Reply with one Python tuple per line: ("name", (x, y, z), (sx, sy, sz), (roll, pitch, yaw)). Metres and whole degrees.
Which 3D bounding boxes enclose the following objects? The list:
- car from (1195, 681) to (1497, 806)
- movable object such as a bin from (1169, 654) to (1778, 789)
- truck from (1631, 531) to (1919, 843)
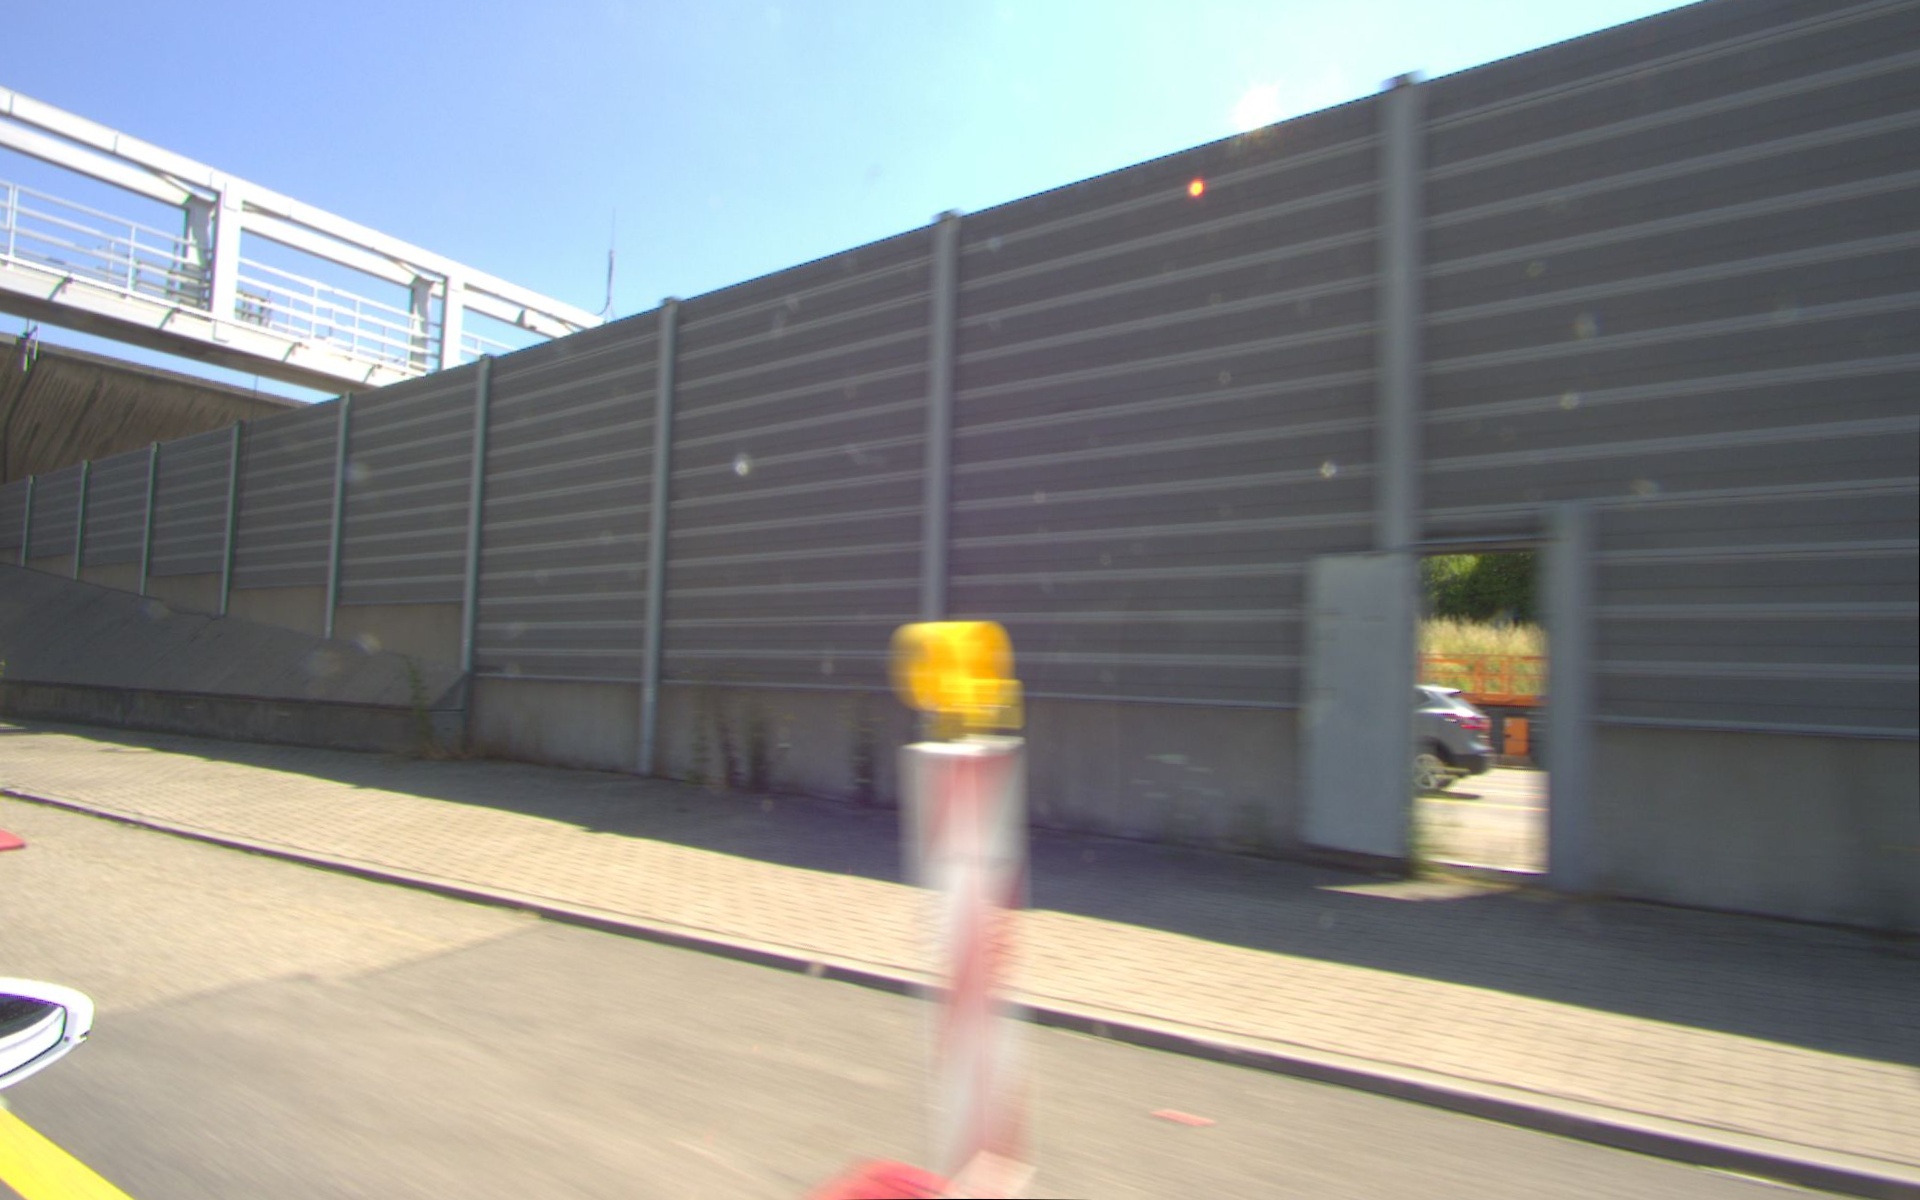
("car", (5.712, 2.066, 14.935), (3.972, 1.570, 1.706), (-2, -7, 31))
("movable object such as a bin", (13.379, 3.122, 28.158), (14.477, 3.047, 3.111), (-1, -4, 29))
("truck", (12.863, 1.251, 13.944), (5.512, 3.994, 2.530), (-1, -7, 28))
